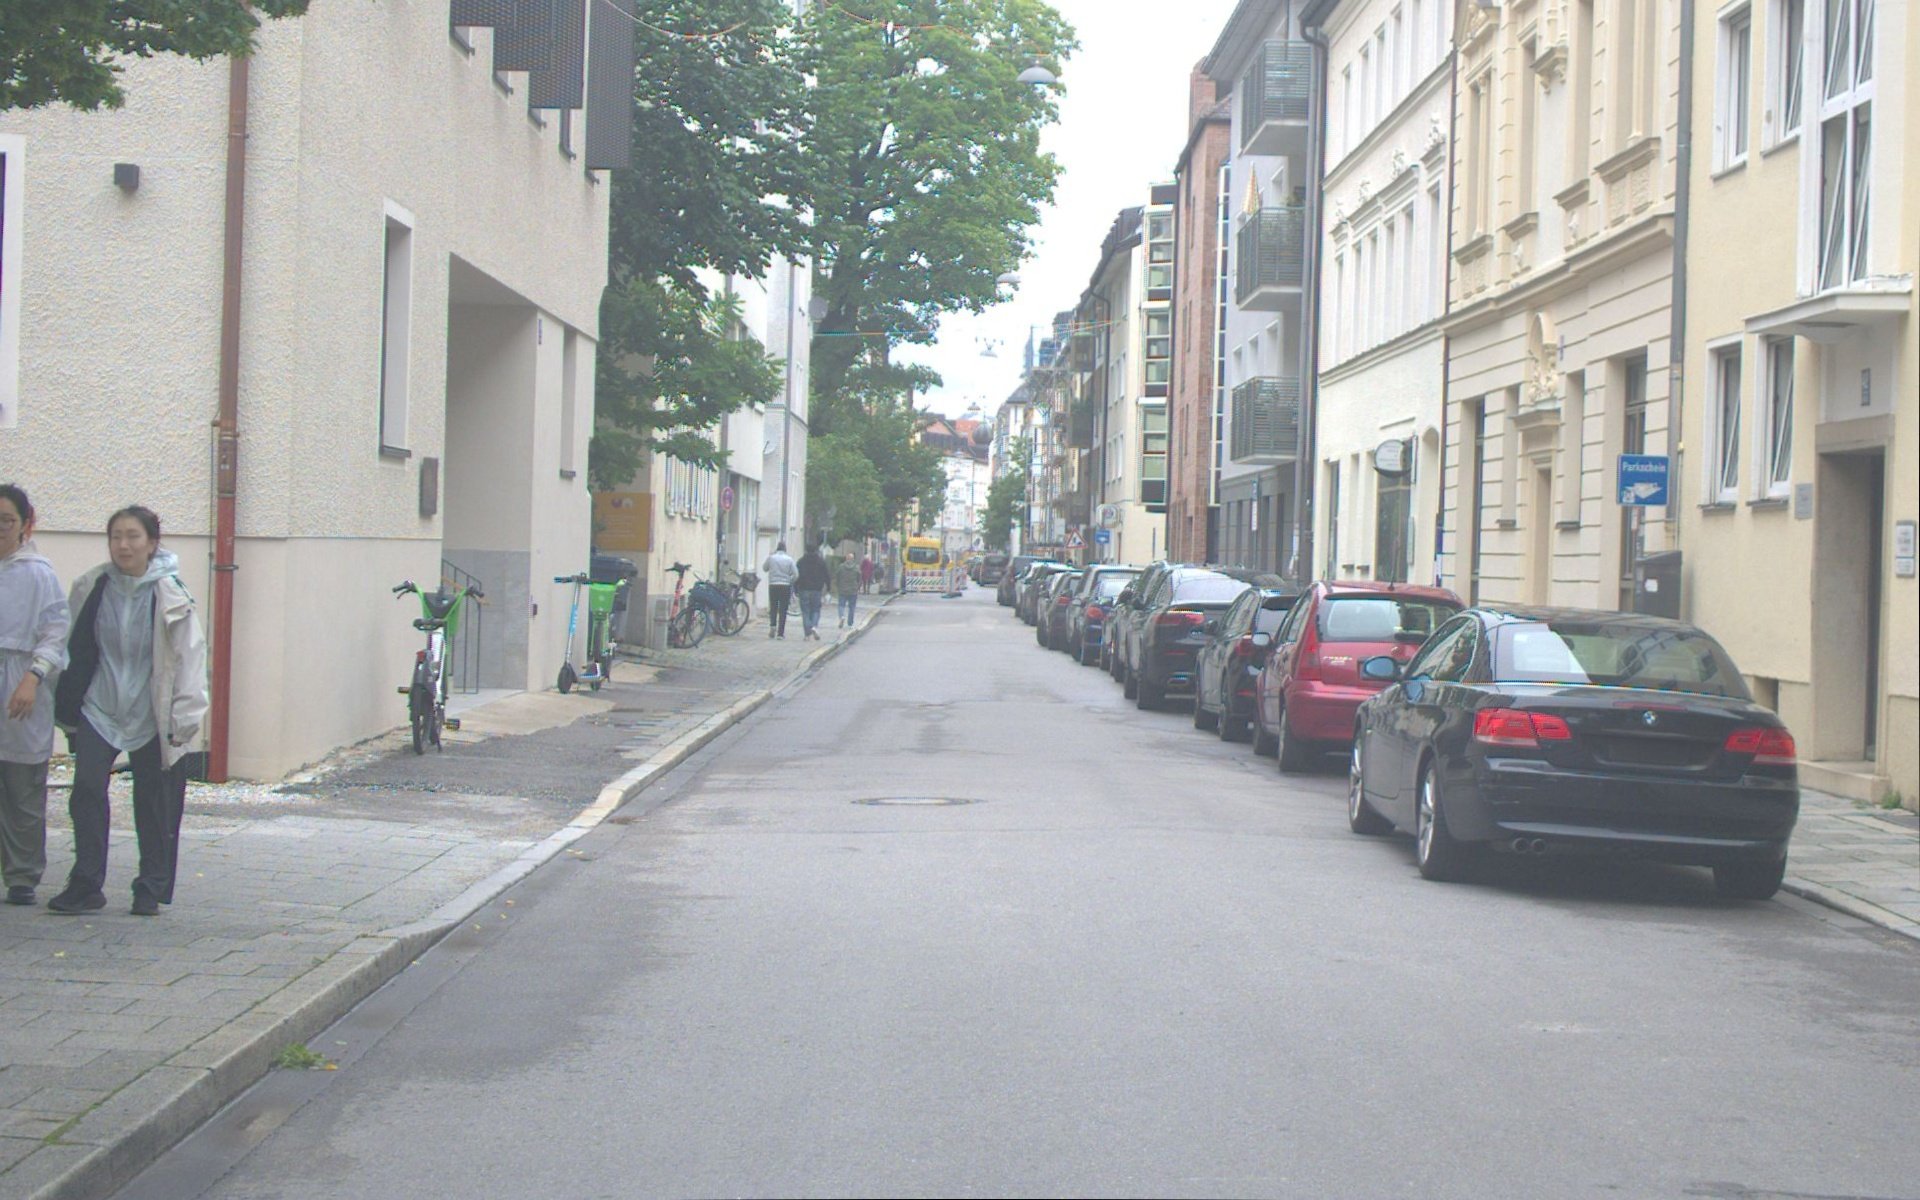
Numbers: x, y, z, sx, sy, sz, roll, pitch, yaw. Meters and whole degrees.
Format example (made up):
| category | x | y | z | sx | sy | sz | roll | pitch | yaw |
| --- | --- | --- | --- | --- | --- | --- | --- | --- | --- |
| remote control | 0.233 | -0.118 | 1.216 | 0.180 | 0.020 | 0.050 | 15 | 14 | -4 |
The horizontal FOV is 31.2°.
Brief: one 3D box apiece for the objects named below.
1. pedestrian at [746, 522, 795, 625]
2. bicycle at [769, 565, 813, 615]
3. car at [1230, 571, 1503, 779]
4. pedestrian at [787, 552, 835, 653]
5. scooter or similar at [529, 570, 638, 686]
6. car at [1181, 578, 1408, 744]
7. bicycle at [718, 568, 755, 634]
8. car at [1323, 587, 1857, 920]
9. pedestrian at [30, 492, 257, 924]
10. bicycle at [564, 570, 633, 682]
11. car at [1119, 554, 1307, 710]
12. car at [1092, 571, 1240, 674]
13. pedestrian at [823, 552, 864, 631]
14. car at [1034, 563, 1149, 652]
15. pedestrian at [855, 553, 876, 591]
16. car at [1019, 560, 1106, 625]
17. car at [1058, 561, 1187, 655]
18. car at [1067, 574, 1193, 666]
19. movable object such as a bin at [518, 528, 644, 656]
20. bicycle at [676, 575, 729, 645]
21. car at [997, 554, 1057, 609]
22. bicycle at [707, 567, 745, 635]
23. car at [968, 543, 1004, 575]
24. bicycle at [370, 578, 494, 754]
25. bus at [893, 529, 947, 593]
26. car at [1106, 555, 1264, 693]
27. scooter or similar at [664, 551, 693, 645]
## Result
| category | x | y | z | sx | sy | sz | roll | pitch | yaw |
| --- | --- | --- | --- | --- | --- | --- | --- | --- | --- |
| pedestrian | -3.384 | -0.469 | 61.406 | 0.718 | 1.790 | 0.917 | 3 | 0 | 0 |
| bicycle | -4.209 | -0.260 | 85.495 | 0.641 | 1.213 | 1.665 | 1 | 0 | -19 |
| car | 3.217 | 0.551 | 27.871 | 1.676 | 1.487 | 3.853 | 2 | 1 | 0 |
| pedestrian | -2.672 | 0.047 | 61.576 | 0.718 | 1.759 | 0.838 | 3 | 0 | 0 |
| scooter or similar | -3.885 | 0.293 | 35.539 | 0.552 | 1.140 | 1.357 | 4 | 0 | 17 |
| car | 3.101 | 0.530 | 32.557 | 1.676 | 1.388 | 4.066 | 2 | 1 | 0 |
| bicycle | -4.063 | 0.012 | 62.530 | 0.561 | 1.155 | 1.721 | 2 | 0 | -6 |
| car | 3.161 | 0.705 | 18.200 | 1.825 | 1.330 | 4.509 | 5 | 1 | -1 |
| pedestrian | -3.109 | 0.401 | 13.144 | 0.622 | 1.573 | 0.714 | 3 | 0 | -1 |
| bicycle | -3.942 | 0.269 | 37.604 | 0.544 | 1.157 | 1.882 | 3 | 1 | -2 |
| car | 2.809 | 0.313 | 39.098 | 1.702 | 1.601 | 4.685 | 2 | 1 | 0 |
| car | 2.953 | 0.293 | 50.028 | 1.799 | 1.381 | 4.349 | 1 | 1 | -1 |
| pedestrian | -2.535 | -0.182 | 74.759 | 0.753 | 1.653 | 0.906 | 4 | 0 | 0 |
| car | 2.428 | 0.108 | 64.372 | 1.839 | 1.523 | 4.293 | 2 | 1 | -1 |
| pedestrian | -3.730 | -1.093 | 135.561 | 0.756 | 1.486 | 0.831 | 1 | 0 | 0 |
| car | 2.632 | -0.211 | 89.236 | 1.885 | 1.550 | 4.392 | 2 | 1 | -2 |
| car | 2.771 | 0.110 | 59.485 | 1.875 | 1.565 | 4.316 | 0 | 1 | -2 |
| car | 2.663 | 0.285 | 54.566 | 1.808 | 1.358 | 3.945 | 1 | 1 | 0 |
| movable object such as a bin | -4.738 | -0.114 | 43.062 | 1.174 | 1.437 | 1.248 | 7 | 2 | 6 |
| bicycle | -3.951 | 0.148 | 52.671 | 0.703 | 0.981 | 1.823 | 6 | 0 | -4 |
| car | 2.424 | -0.703 | 125.721 | 1.801 | 1.814 | 4.001 | 5 | 1 | -2 |
| bicycle | -4.134 | 0.017 | 60.814 | 0.458 | 1.155 | 1.605 | 4 | 0 | 1 |
| car | 1.536 | -2.411 | 203.545 | 1.801 | 1.706 | 3.827 | 5 | 1 | -2 |
| bicycle | -3.662 | 0.437 | 23.961 | 0.538 | 1.135 | 1.917 | 3 | 1 | -1 |
| bus | -1.977 | -1.903 | 171.601 | 2.593 | 3.091 | 6.306 | 1 | 0 | 0 |
| car | 2.890 | 0.268 | 44.885 | 1.676 | 1.655 | 4.513 | 2 | 1 | 0 |
| scooter or similar | -4.168 | -0.034 | 50.938 | 0.317 | 1.371 | 1.239 | 1 | 0 | 0 |
